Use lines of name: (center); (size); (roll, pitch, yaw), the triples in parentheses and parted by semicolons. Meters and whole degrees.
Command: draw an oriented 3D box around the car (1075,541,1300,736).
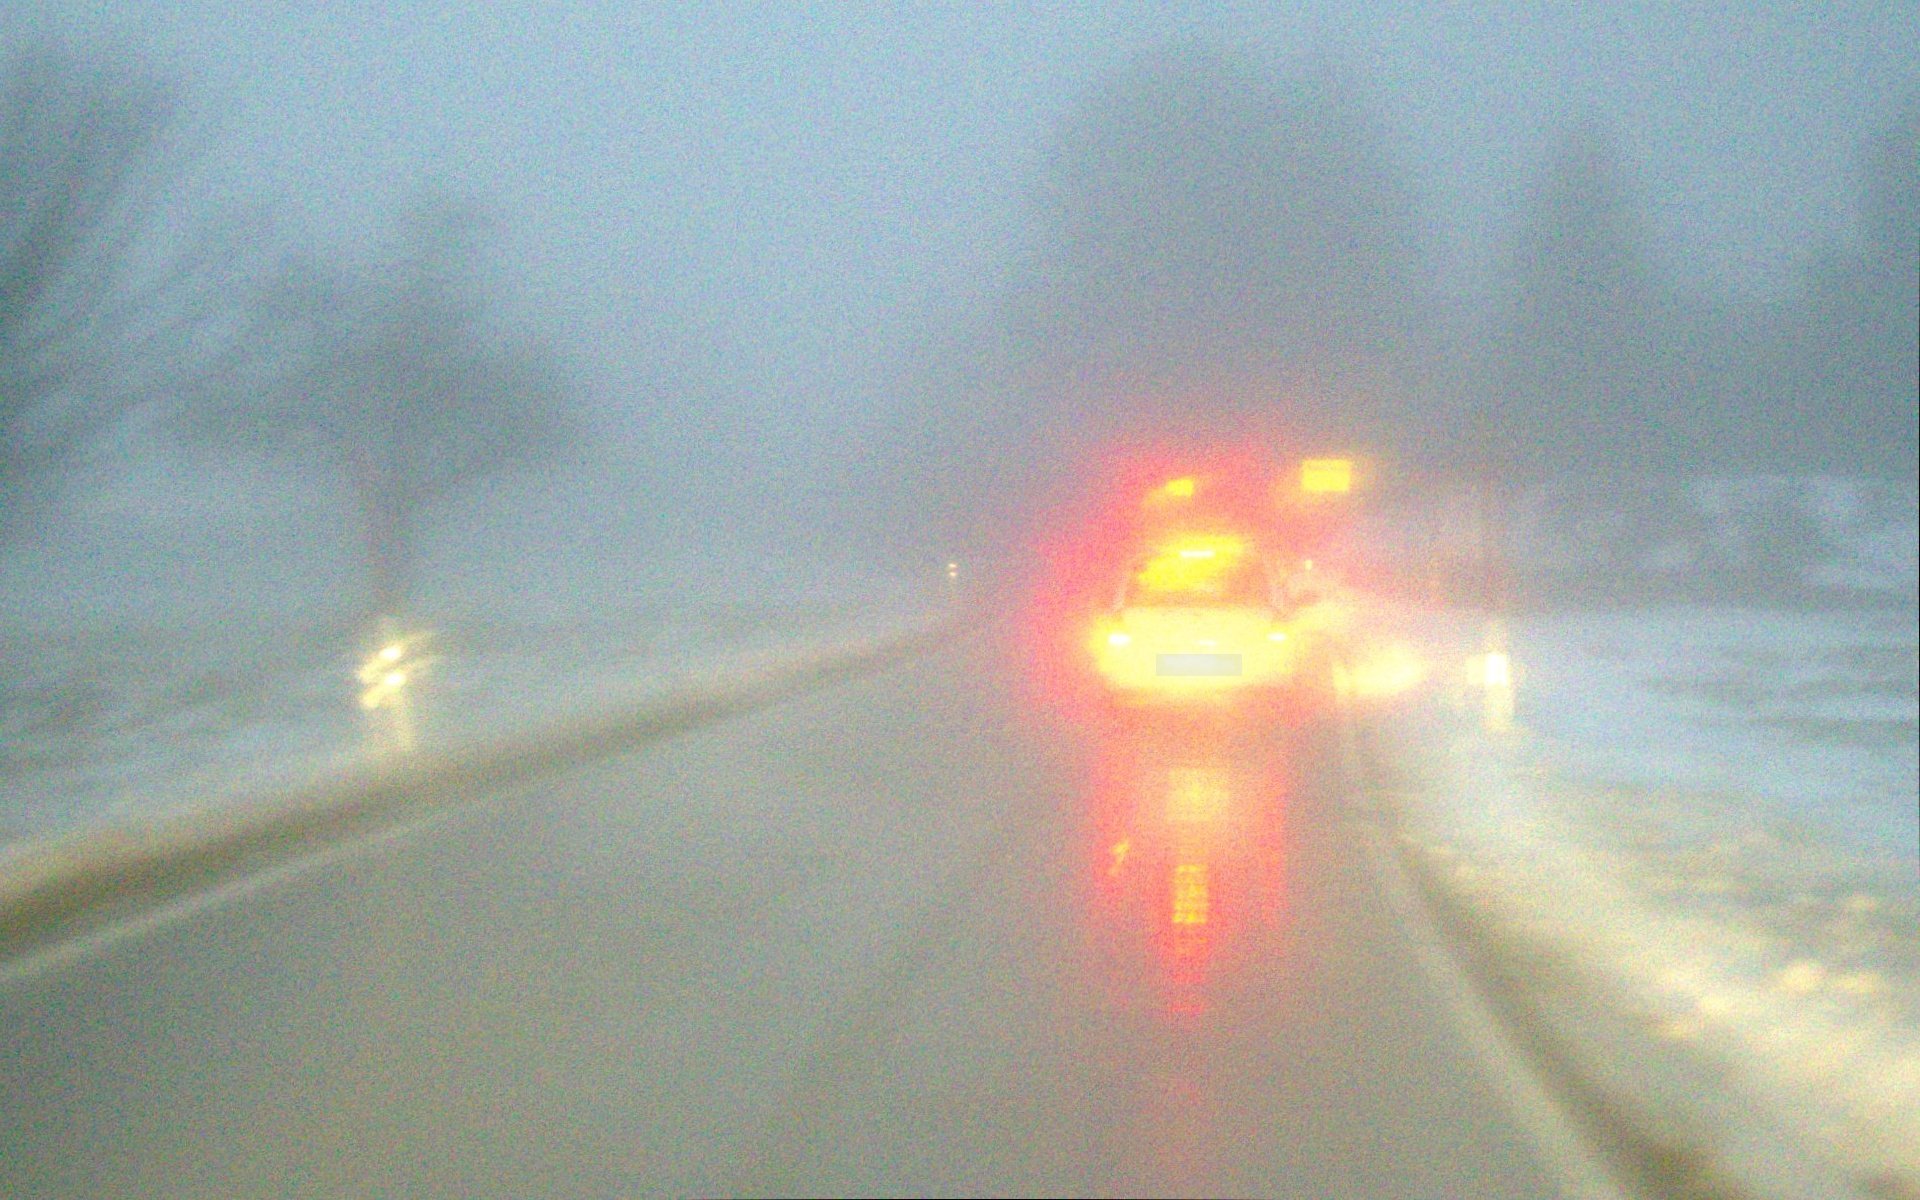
car: (1.857, 0.302, 29.047); (1.707, 1.458, 4.000); (3, 0, 2)

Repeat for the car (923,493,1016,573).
car: (0.199, -1.299, 67.404); (1.523, 1.503, 3.052); (-1, 0, 6)
